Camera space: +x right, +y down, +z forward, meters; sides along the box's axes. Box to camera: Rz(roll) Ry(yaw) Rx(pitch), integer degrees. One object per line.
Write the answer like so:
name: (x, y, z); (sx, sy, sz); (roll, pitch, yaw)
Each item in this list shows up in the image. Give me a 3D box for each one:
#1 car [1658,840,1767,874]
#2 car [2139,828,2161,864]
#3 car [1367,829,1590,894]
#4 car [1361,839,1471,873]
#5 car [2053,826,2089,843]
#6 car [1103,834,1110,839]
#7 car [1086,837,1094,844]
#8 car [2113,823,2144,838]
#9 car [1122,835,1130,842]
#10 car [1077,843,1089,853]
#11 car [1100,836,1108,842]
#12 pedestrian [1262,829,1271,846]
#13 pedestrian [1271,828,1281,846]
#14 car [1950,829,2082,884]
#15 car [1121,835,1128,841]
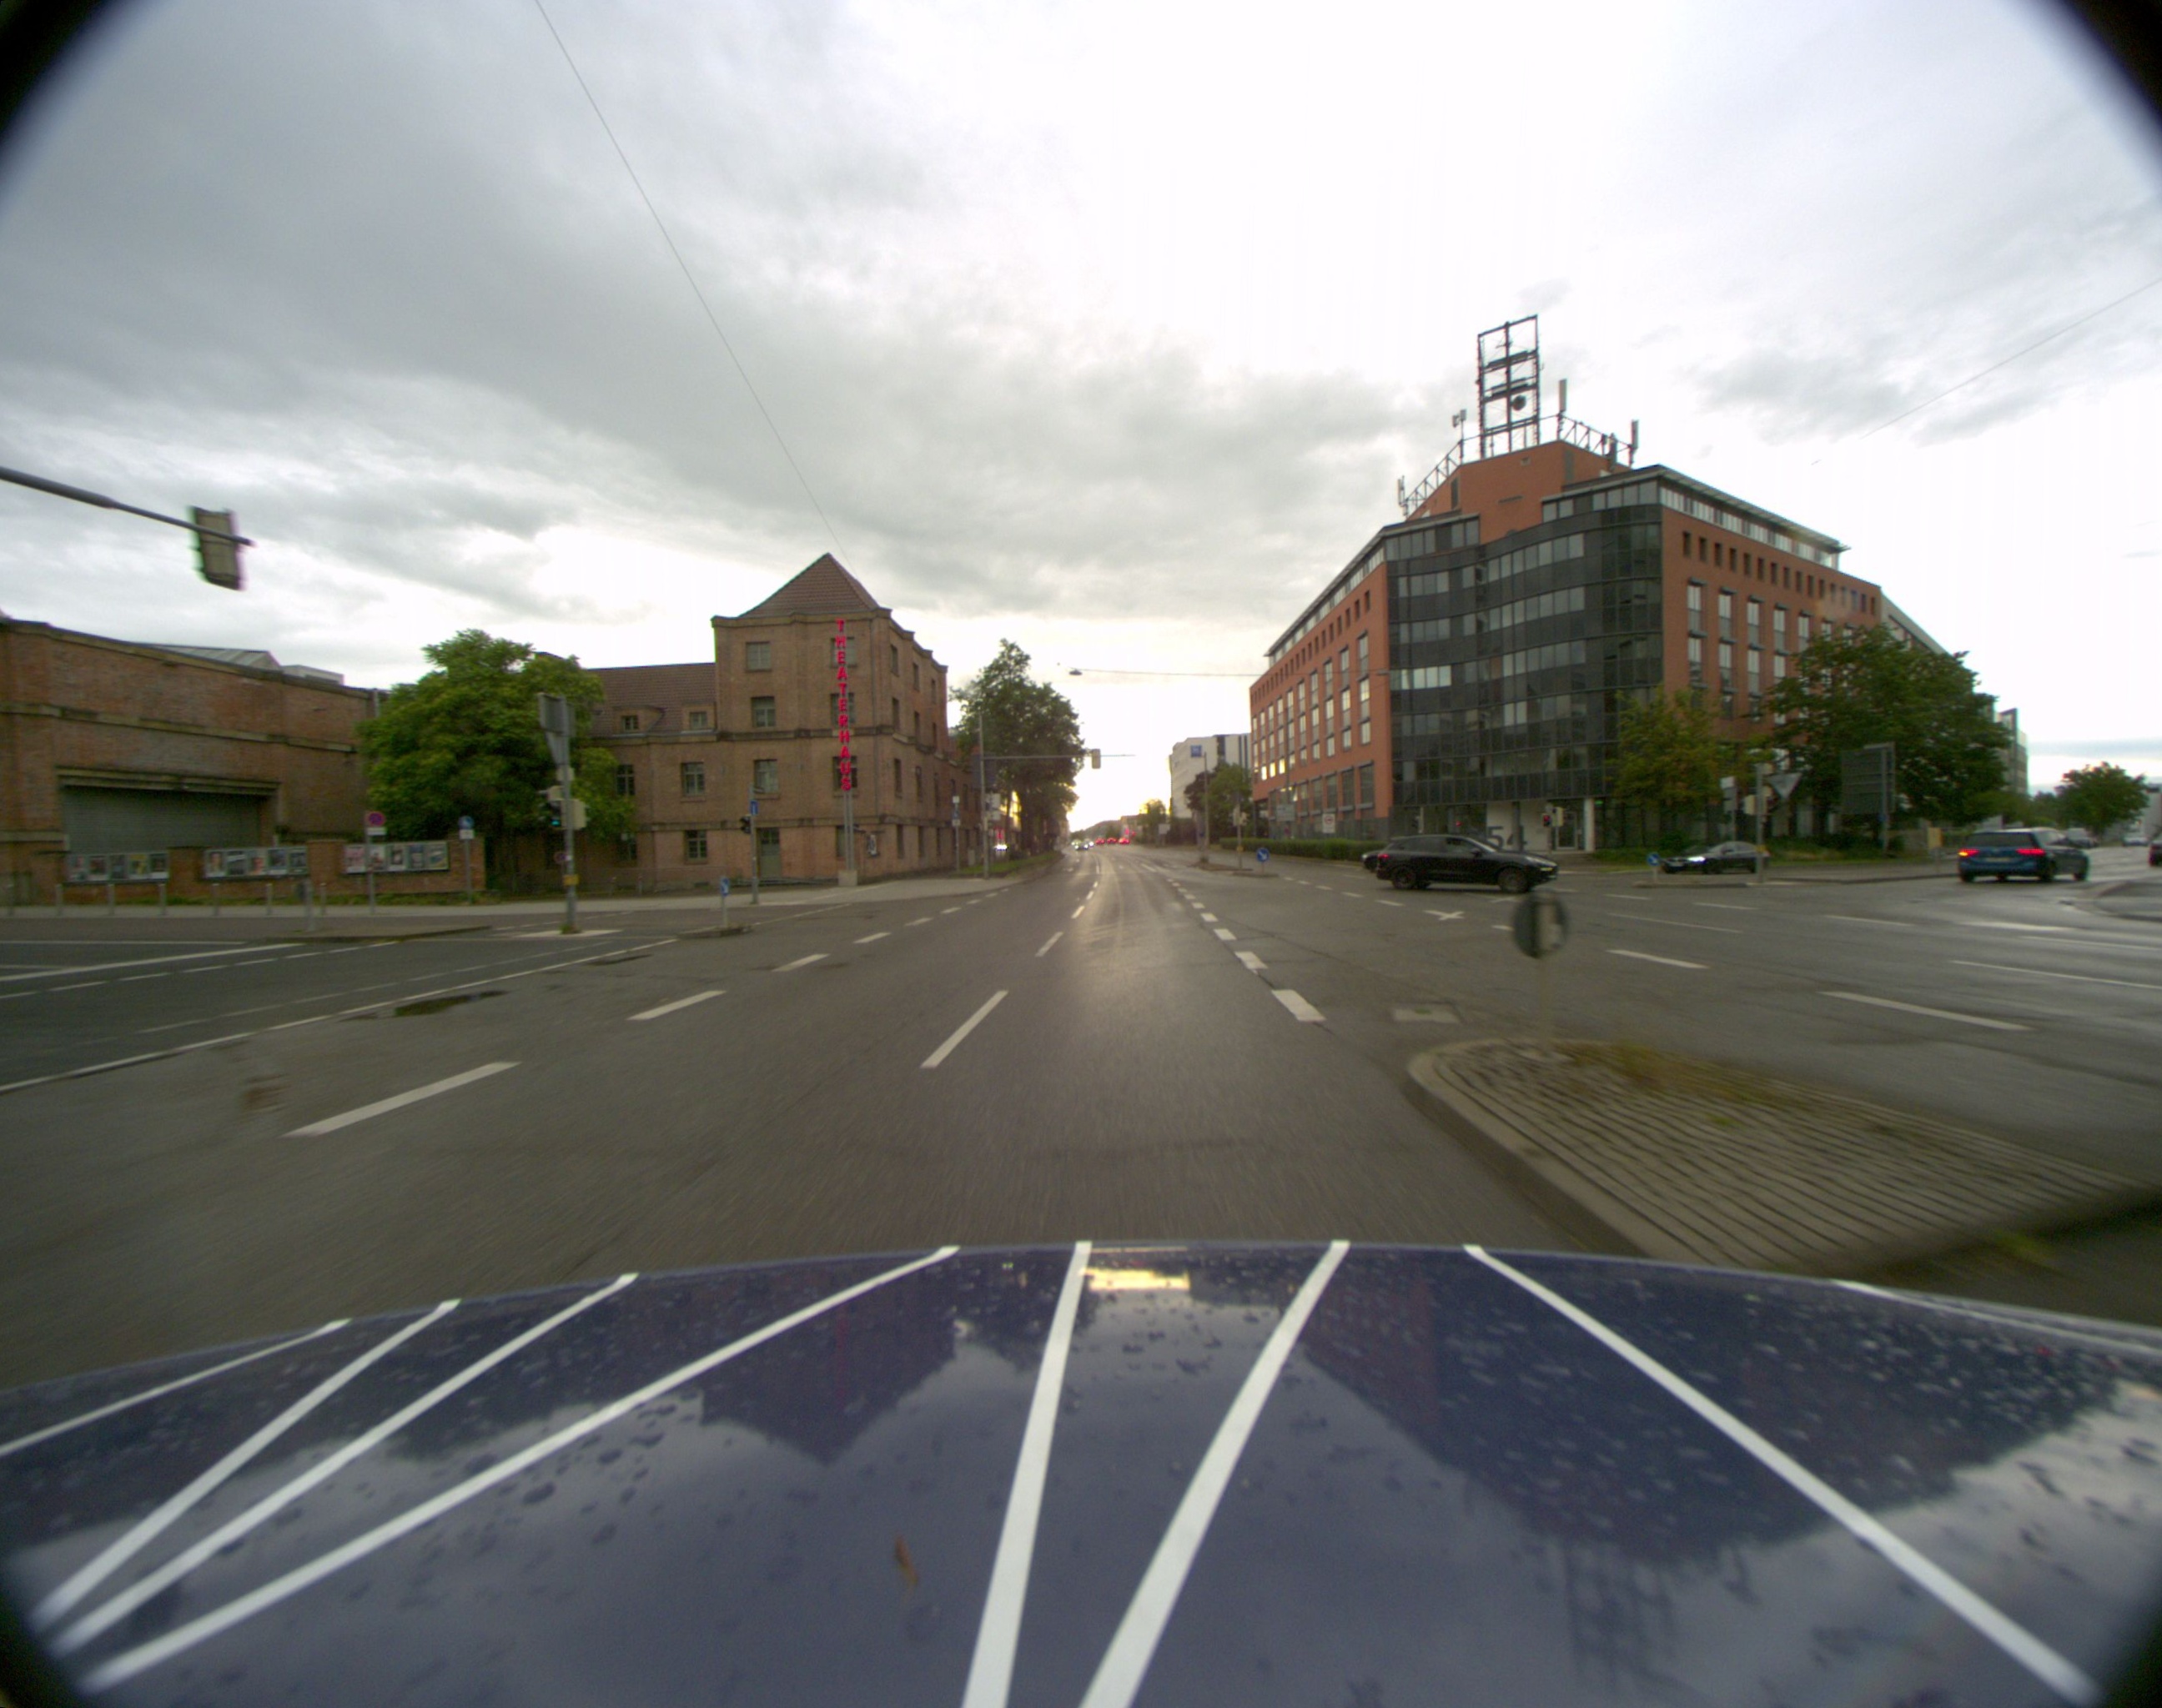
car: (27.503, 0.097, 33.112); (4.003, 1.355, 1.849); (-1, 1, -20)
car: (49.001, -0.381, 33.781); (4.054, 1.502, 1.848); (-2, 2, -30)
car: (11.426, 0.201, 22.128); (5.409, 1.657, 2.004); (-1, 2, 42)
car: (15.742, 0.062, 35.829); (4.360, 1.501, 1.861); (0, 1, 41)
car: (90.728, -1.795, 69.647); (4.007, 1.501, 1.795); (-1, 1, -35)
car: (8.163, -5.701, 243.127); (1.998, 1.543, 3.999); (-2, 2, 1)
car: (1.917, -2.887, 160.903); (1.798, 1.501, 4.000); (-1, 1, 1)
car: (110.540, -2.450, 80.173); (4.007, 1.501, 1.795); (-1, 1, -35)
car: (11.265, -3.907, 191.361); (1.767, 1.559, 3.998); (0, 2, -2)
car: (0.319, -1.014, 119.382); (1.798, 1.501, 4.000); (-1, 1, 1)
car: (5.854, -3.854, 192.142); (1.998, 1.543, 3.999); (-2, 2, 1)
pedestrian: (20.243, -1.819, 83.025); (0.747, 1.831, 0.885); (-3, 2, 0)
pedestrian: (21.169, -1.842, 82.558); (0.747, 1.831, 0.885); (-3, 2, 0)
car: (29.244, 0.041, 23.752); (4.203, 1.587, 1.774); (-1, 1, -27)
car: (11.889, -4.306, 206.989); (1.767, 1.559, 3.998); (0, 2, -1)
